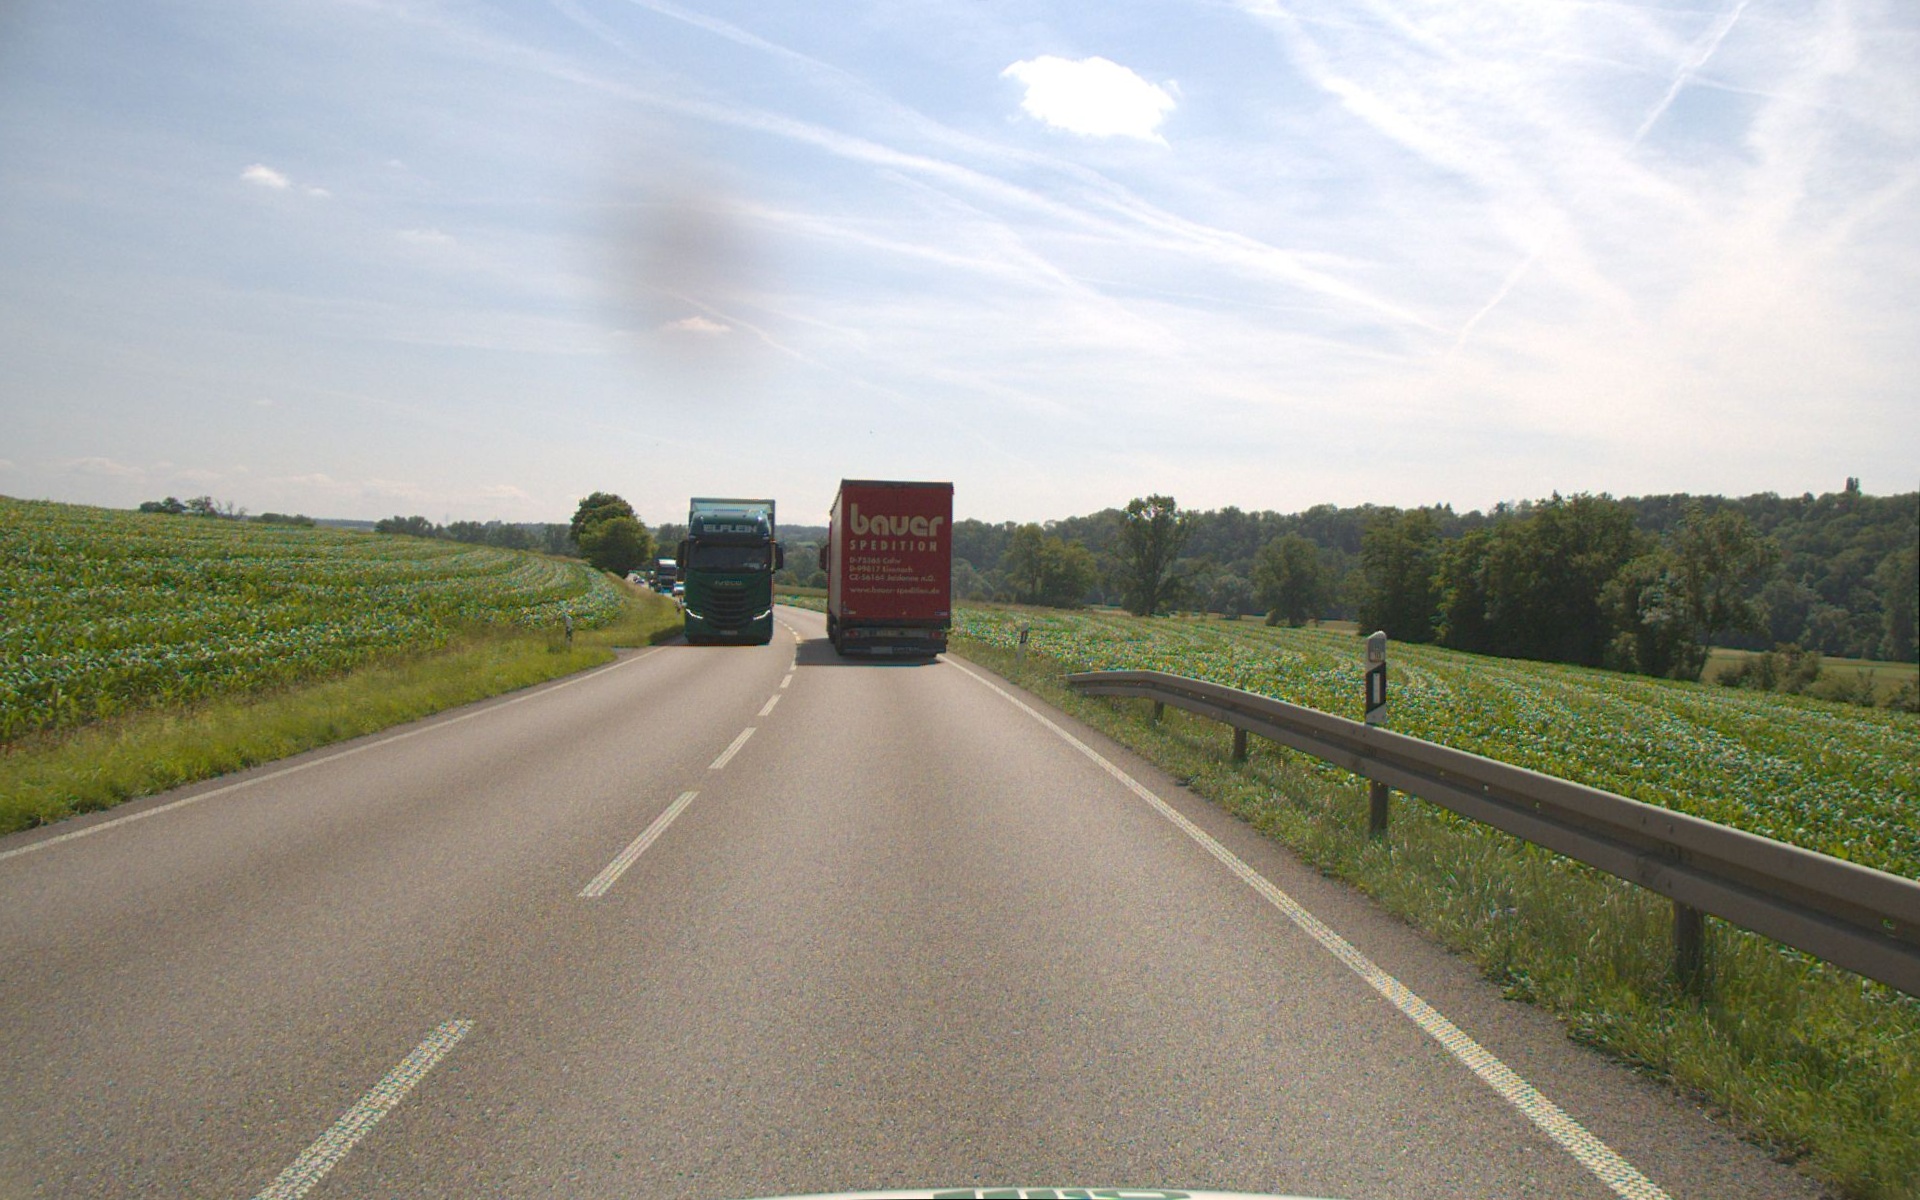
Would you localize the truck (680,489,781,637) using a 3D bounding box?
[{"bbox_3d":[-7.381,-1.084,54.347,2.718,4.068,17.002,1,0,-7],"label":"truck"}]

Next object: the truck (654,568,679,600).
[{"bbox_3d":[-38.241,-2.133,215.071,2.777,4.062,16.485,0,1,-12],"label":"truck"}]

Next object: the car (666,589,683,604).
[{"bbox_3d":[-28.907,-0.376,167.344,1.697,1.465,4.166,0,1,-10],"label":"car"}]

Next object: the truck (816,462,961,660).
[{"bbox_3d":[-1.933,-0.844,40.485,3.035,4.337,8.303,0,0,-6],"label":"truck"}]

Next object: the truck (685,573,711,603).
[{"bbox_3d":[-21.403,-1.008,135.000,1.974,2.360,5.178,1,0,-11],"label":"truck"}]

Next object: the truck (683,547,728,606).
[{"bbox_3d":[-16.589,-1.492,108.191,2.690,3.641,9.709,1,0,-8],"label":"truck"}]
